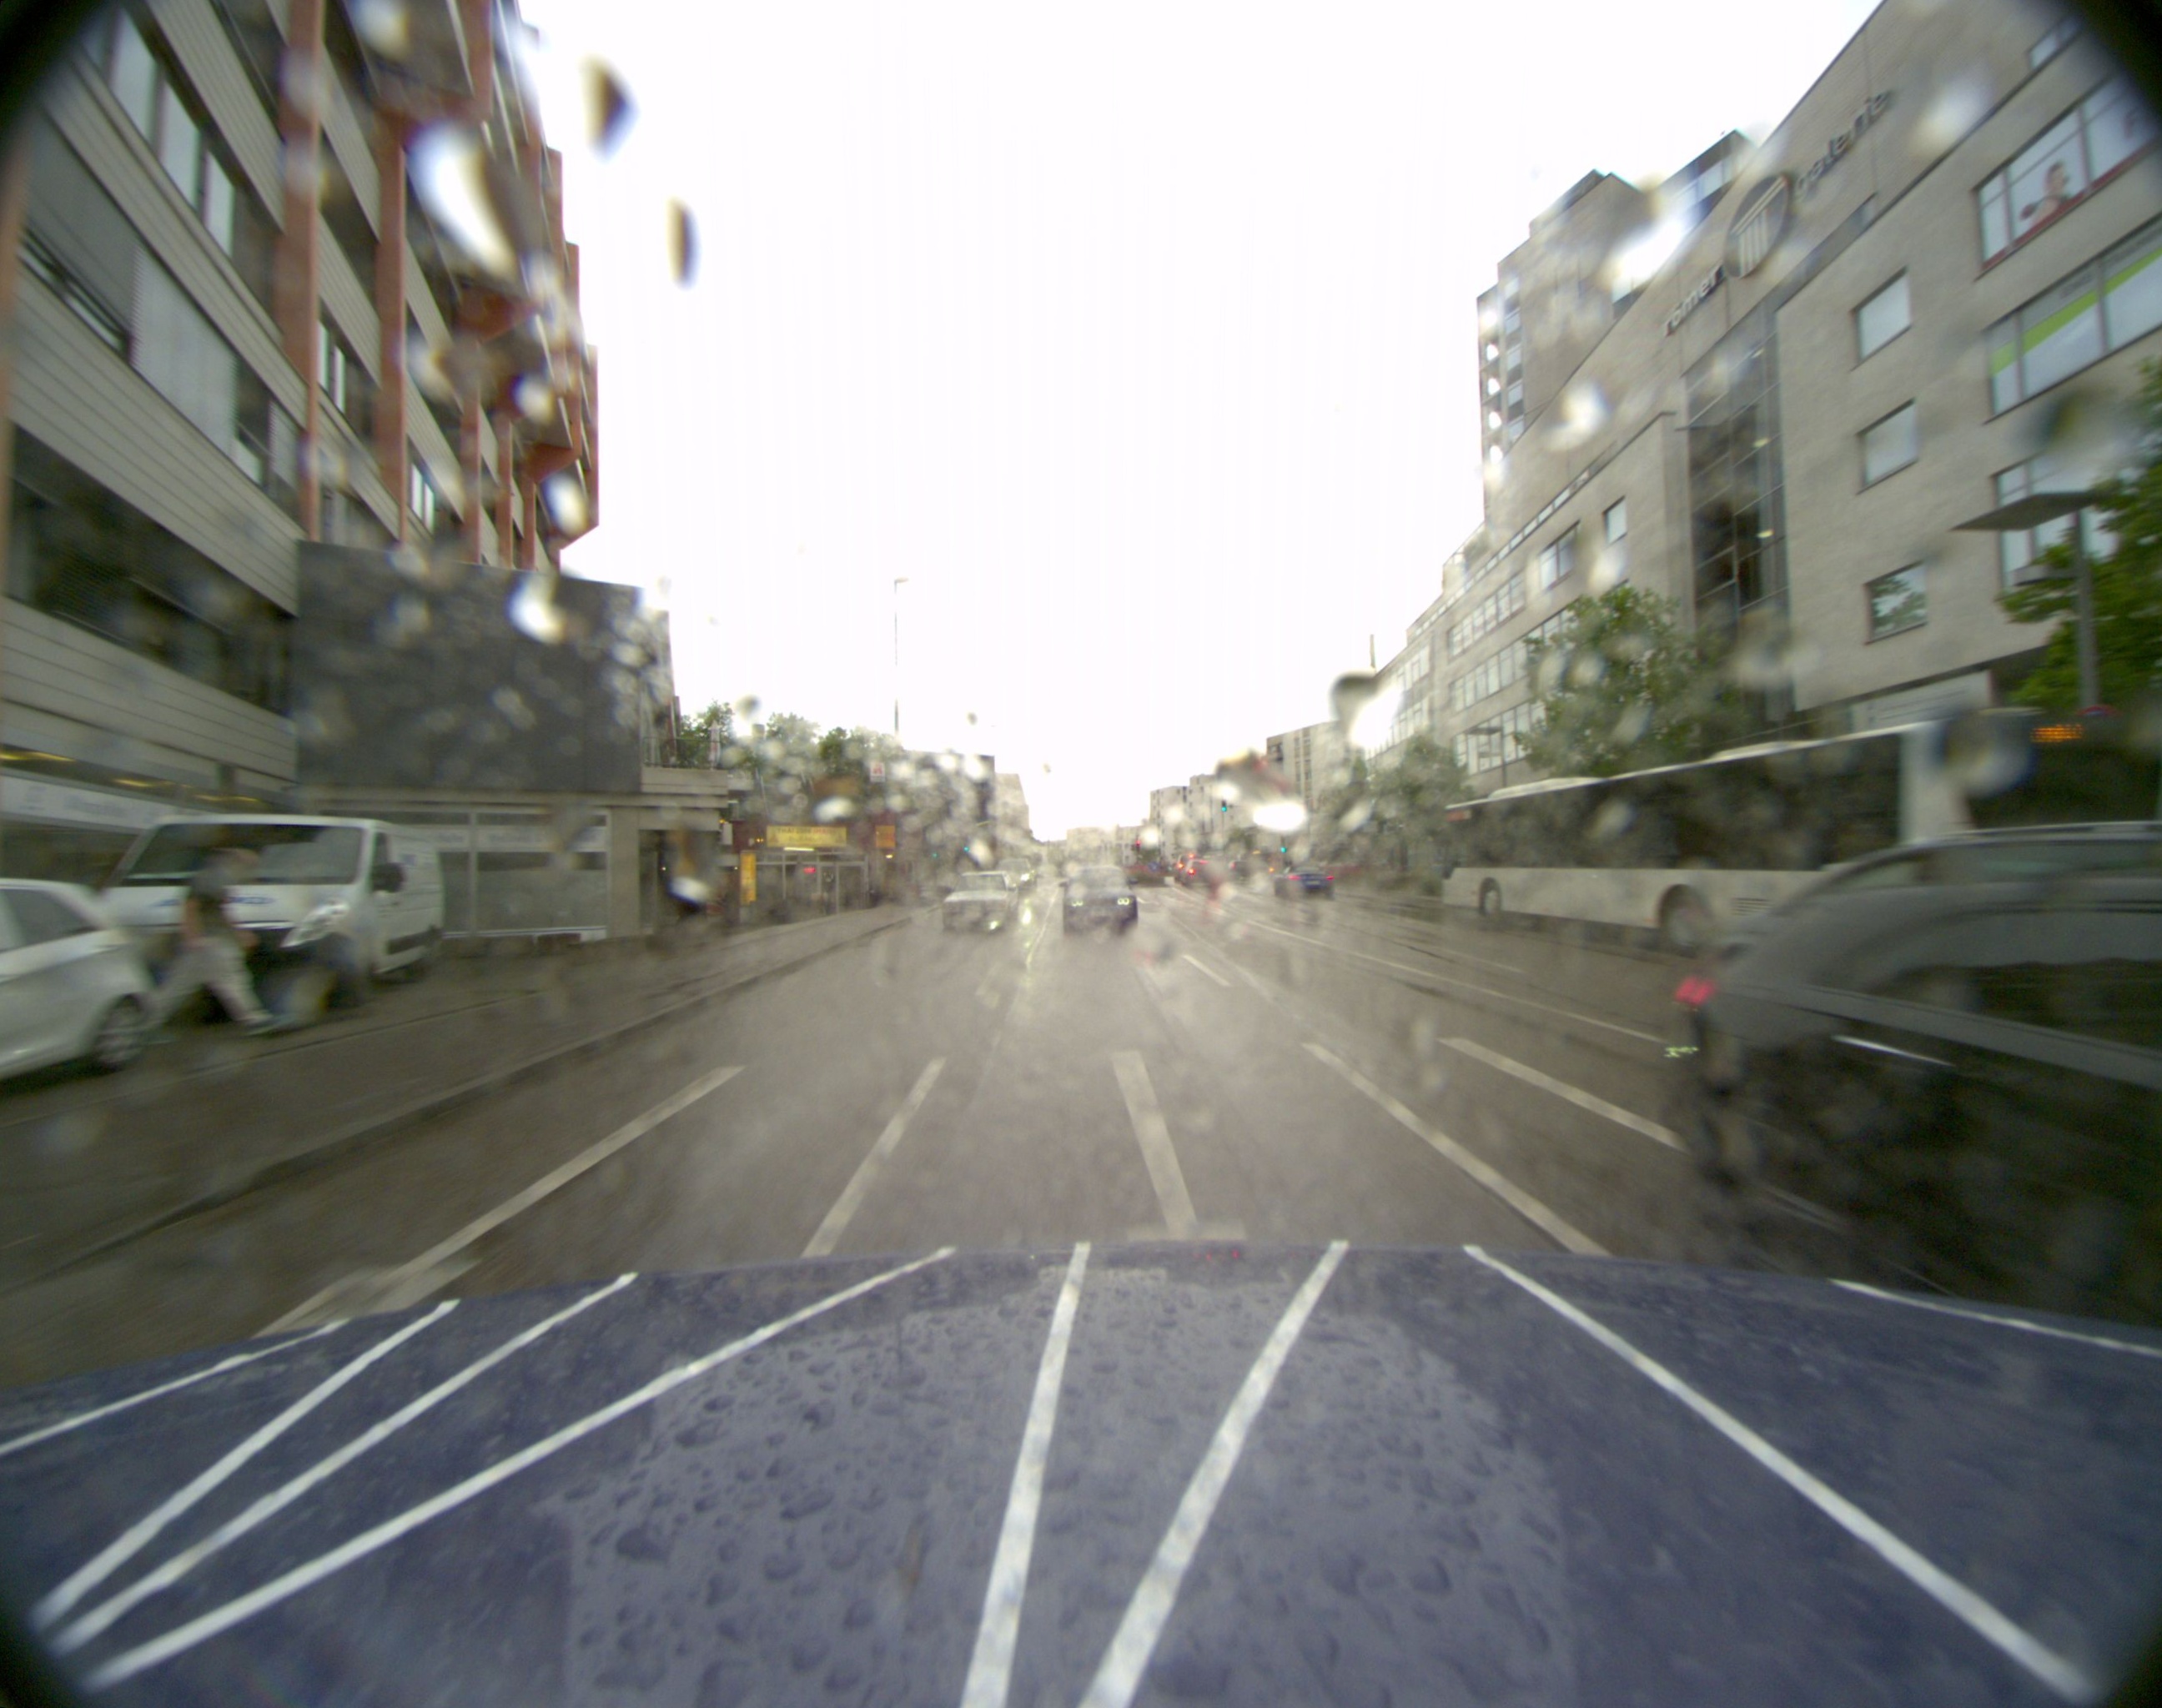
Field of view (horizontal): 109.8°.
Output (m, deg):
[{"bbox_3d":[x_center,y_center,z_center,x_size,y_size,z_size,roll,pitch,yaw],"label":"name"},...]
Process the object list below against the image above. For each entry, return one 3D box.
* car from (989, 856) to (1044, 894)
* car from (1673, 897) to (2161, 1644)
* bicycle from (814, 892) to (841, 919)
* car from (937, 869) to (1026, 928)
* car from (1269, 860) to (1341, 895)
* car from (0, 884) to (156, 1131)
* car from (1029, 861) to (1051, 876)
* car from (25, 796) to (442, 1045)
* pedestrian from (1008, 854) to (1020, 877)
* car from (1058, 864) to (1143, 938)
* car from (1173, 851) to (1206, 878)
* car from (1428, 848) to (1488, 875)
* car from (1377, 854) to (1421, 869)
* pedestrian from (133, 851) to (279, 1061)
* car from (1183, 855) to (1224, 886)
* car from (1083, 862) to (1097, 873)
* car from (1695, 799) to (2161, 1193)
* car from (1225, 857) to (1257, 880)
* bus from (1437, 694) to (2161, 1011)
[{"bbox_3d":[-2.985,0.951,36.119,2.058,1.638,4.480,-1,0,1],"label":"car"},{"bbox_3d":[3.082,0.909,0.777,1.719,1.441,4.198,-1,0,1],"label":"car"},{"bbox_3d":[-9.689,1.951,29.003,0.532,0.932,1.573,1,-1,-36],"label":"bicycle"},{"bbox_3d":[-2.539,1.121,20.350,1.662,1.300,3.995,-1,0,3],"label":"car"},{"bbox_3d":[9.027,0.910,30.973,1.900,1.249,4.195,-1,0,4],"label":"car"},{"bbox_3d":[-7.151,0.966,3.932,1.618,1.453,3.417,-1,1,-24],"label":"car"},{"bbox_3d":[-4.182,1.495,78.552,1.854,1.490,3.906,-1,0,3],"label":"car"},{"bbox_3d":[-9.667,0.745,9.322,2.011,2.195,4.865,1,-4,-31],"label":"car"},{"bbox_3d":[-5.202,0.910,59.337,0.687,1.793,0.797,2,1,10],"label":"pedestrian"},{"bbox_3d":[0.482,0.982,17.441,1.688,1.373,3.794,-2,0,3],"label":"car"},{"bbox_3d":[7.468,0.682,52.640,1.867,1.780,4.000,1,1,3],"label":"car"},{"bbox_3d":[20.772,0.379,42.000,1.757,1.402,3.731,-1,0,5],"label":"car"},{"bbox_3d":[34.390,0.765,82.131,4.200,1.617,1.683,0,0,-12],"label":"car"},{"bbox_3d":[-7.712,0.867,6.721,0.594,1.756,0.600,-1,-1,-2],"label":"pedestrian"},{"bbox_3d":[6.527,0.848,40.905,1.711,1.508,4.392,-1,0,3],"label":"car"},{"bbox_3d":[1.007,1.483,85.912,1.326,1.178,2.824,-1,0,5],"label":"car"},{"bbox_3d":[6.379,0.703,4.881,1.637,2.002,4.286,-1,0,4],"label":"car"},{"bbox_3d":[9.996,0.901,47.551,1.568,1.367,3.283,0,0,4],"label":"car"},{"bbox_3d":[10.145,-0.041,13.440,2.898,3.081,12.002,-1,0,5],"label":"bus"}]
